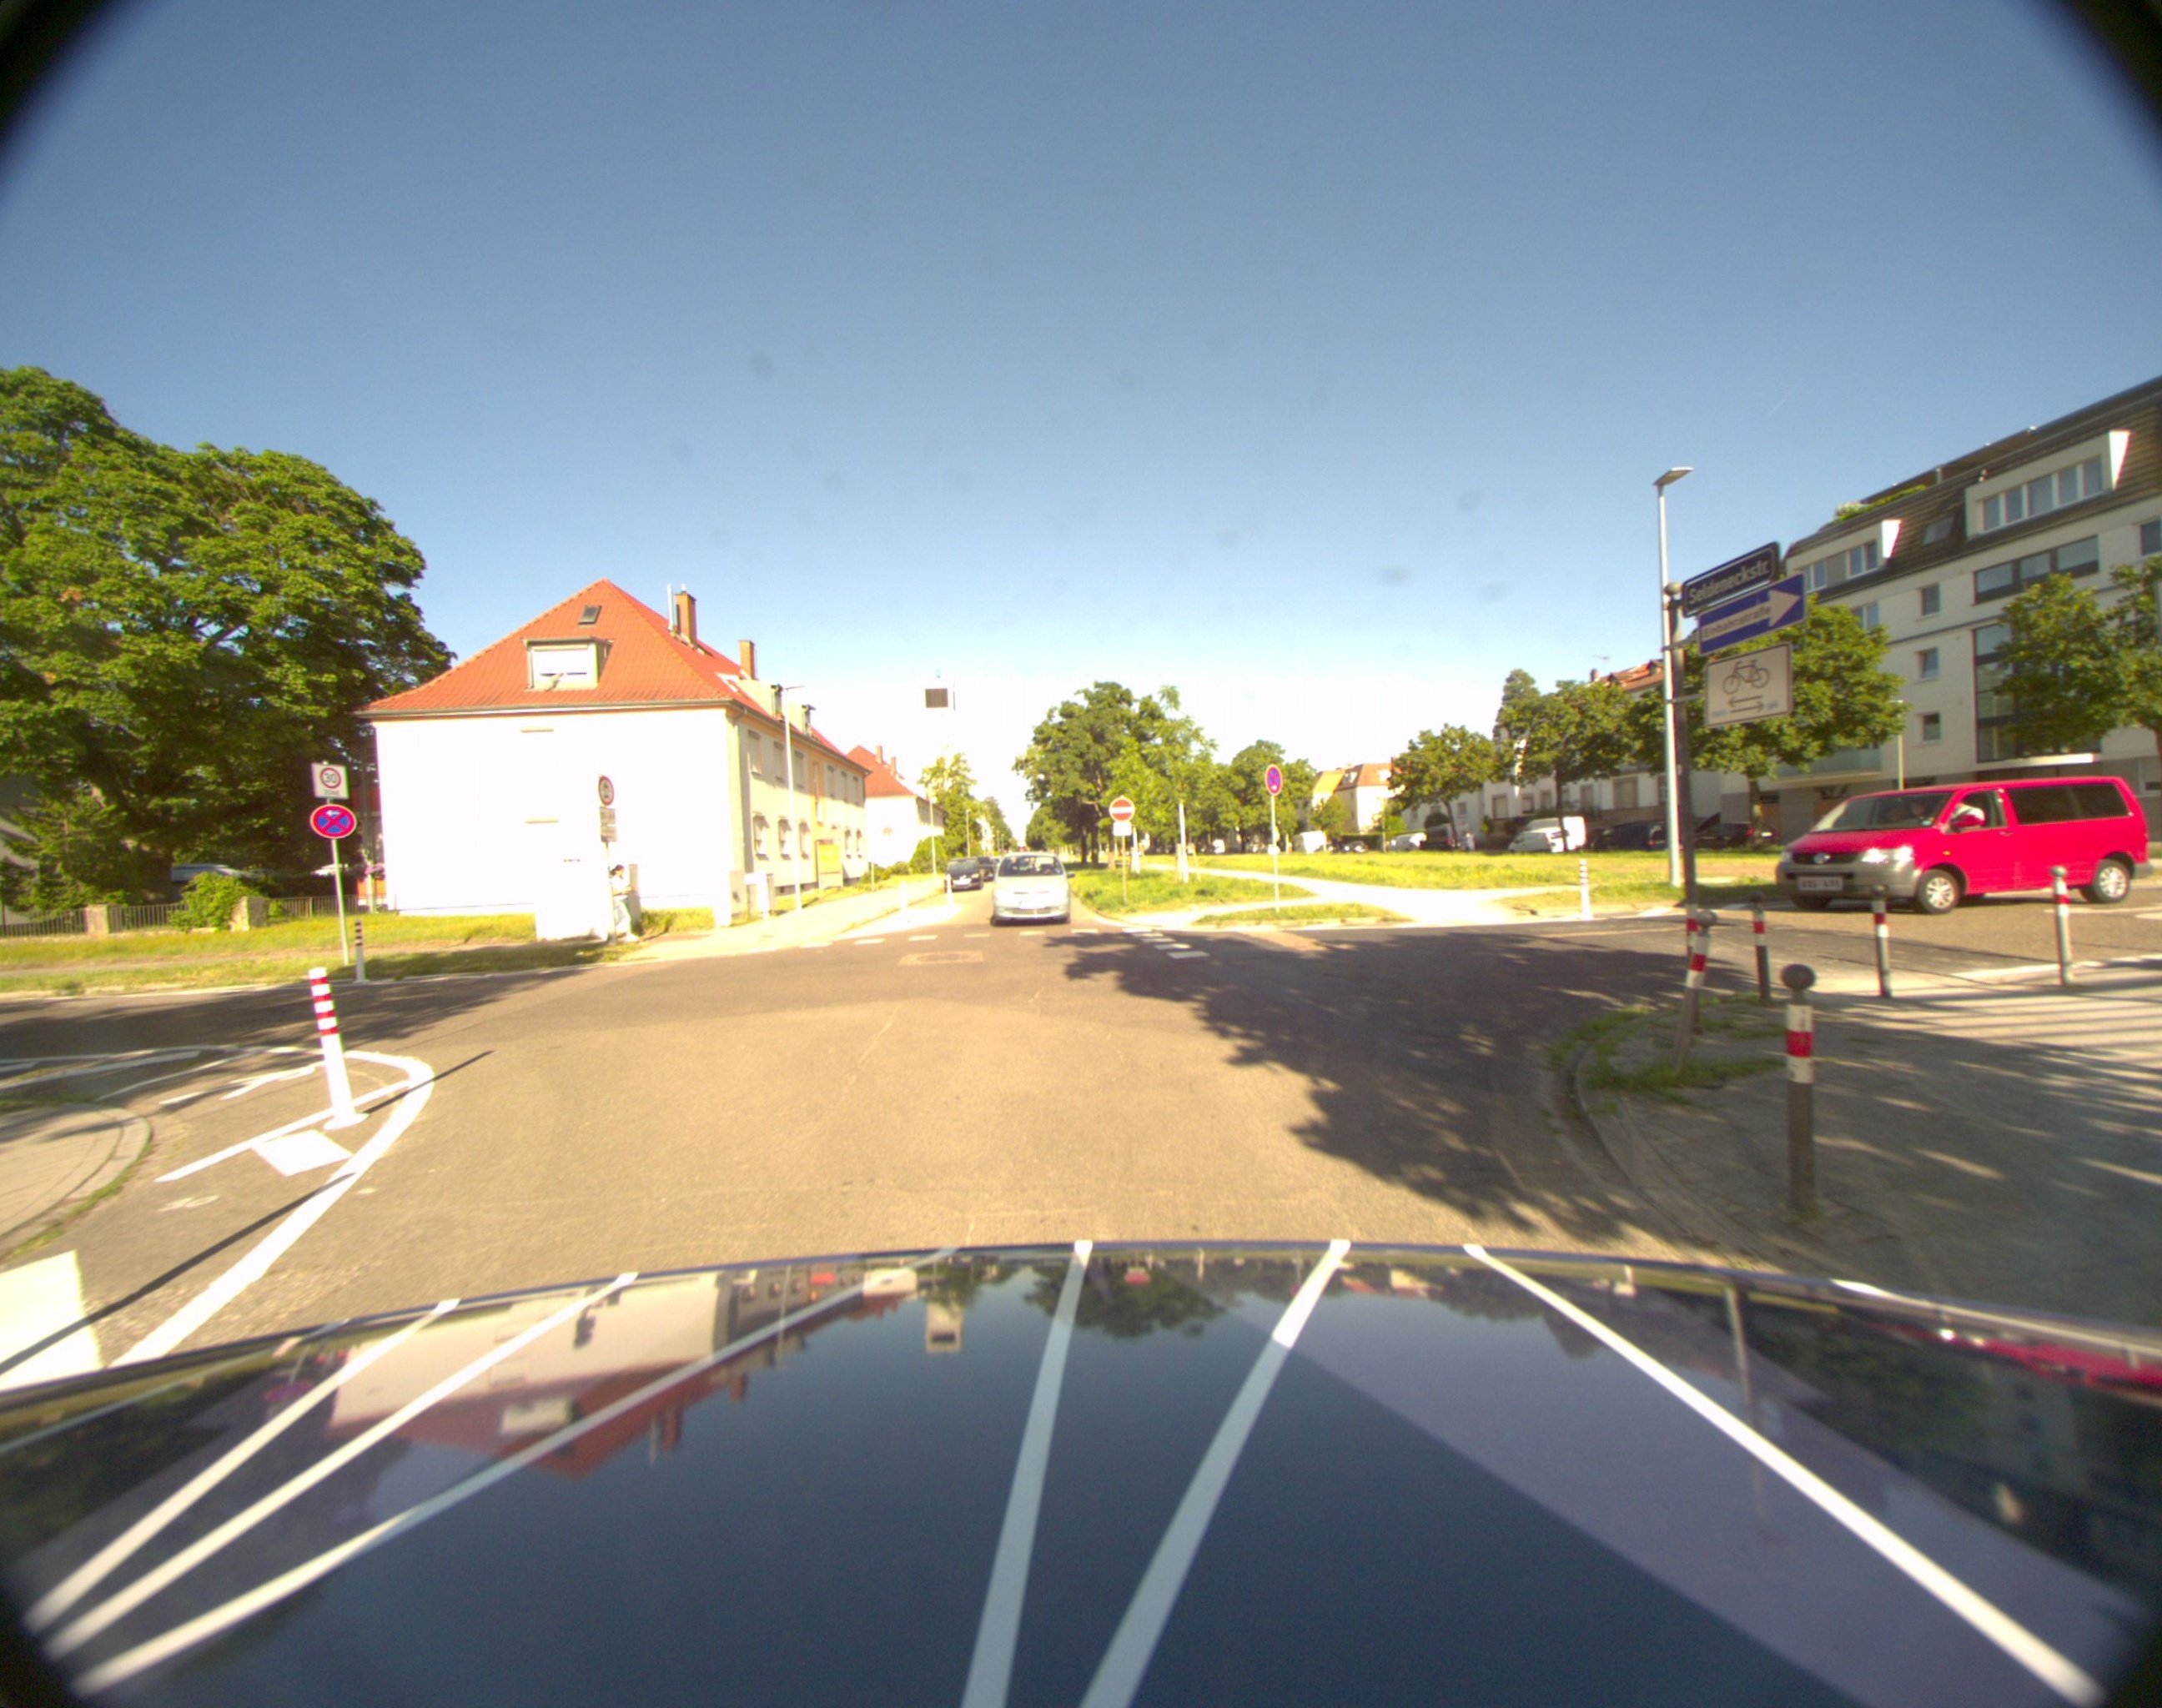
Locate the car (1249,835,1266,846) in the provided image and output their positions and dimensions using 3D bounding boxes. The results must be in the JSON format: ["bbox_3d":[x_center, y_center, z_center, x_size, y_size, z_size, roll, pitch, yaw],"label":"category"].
[{"bbox_3d":[30.988,-2.373,133.668,1.865,1.834,3.993,-3,1,-2],"label":"car"}]

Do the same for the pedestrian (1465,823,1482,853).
[{"bbox_3d":[25.067,-1.024,48.531,0.724,1.866,0.629,-3,1,-4],"label":"pedestrian"}]

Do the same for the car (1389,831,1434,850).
[{"bbox_3d":[29.837,-1.193,68.766,2.084,1.589,4.287,-3,1,-2],"label":"car"}]

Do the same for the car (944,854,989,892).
[{"bbox_3d":[-5.592,0.868,37.371,1.721,1.654,4.062,-3,1,-3],"label":"car"}]

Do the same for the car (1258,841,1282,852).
[{"bbox_3d":[27.230,-1.046,109.532,2.080,1.457,4.726,-3,1,-2],"label":"car"}]

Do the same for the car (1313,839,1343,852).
[{"bbox_3d":[28.413,-0.966,87.507,1.934,1.337,4.108,-3,1,-2],"label":"car"}]

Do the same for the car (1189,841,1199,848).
[{"bbox_3d":[28.720,-2.388,193.045,1.865,1.834,3.993,-3,1,-2],"label":"car"}]

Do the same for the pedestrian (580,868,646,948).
[{"bbox_3d":[-9.925,1.121,16.153,0.833,1.602,0.768,-3,1,1],"label":"pedestrian"}]

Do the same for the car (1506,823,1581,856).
[{"bbox_3d":[30.507,-0.941,50.277,1.875,1.873,4.422,-7,1,-3],"label":"car"}]

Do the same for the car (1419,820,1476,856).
[{"bbox_3d":[29.737,-1.253,61.874,2.192,2.569,4.287,-7,1,-2],"label":"car"}]

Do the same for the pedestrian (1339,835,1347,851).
[{"bbox_3d":[24.487,-1.020,70.919,0.496,1.496,0.535,-3,1,-3],"label":"pedestrian"}]

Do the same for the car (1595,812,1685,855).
[{"bbox_3d":[30.823,-1.078,42.043,1.783,2.072,3.993,-7,1,-2],"label":"car"}]

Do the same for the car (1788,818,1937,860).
[{"bbox_3d":[31.677,-0.578,30.976,1.739,1.425,3.993,-7,1,-3],"label":"car"}]

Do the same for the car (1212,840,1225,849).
[{"bbox_3d":[29.876,-1.956,165.027,1.865,1.834,3.993,-3,1,-2],"label":"car"}]

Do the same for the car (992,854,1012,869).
[{"bbox_3d":[-8.164,0.760,78.693,1.721,1.334,3.807,-3,1,-3],"label":"car"}]

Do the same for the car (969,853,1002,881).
[{"bbox_3d":[-6.033,0.798,48.203,1.721,1.574,4.139,-3,1,-3],"label":"car"}]

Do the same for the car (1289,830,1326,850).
[{"bbox_3d":[27.998,-1.712,94.061,2.550,2.320,5.918,-3,1,-2],"label":"car"}]

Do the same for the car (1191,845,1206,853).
[{"bbox_3d":[23.920,-0.986,154.853,2.080,1.457,4.726,-3,1,-2],"label":"car"}]

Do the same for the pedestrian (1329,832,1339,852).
[{"bbox_3d":[23.673,-1.105,71.202,0.644,1.866,0.629,-3,1,-5],"label":"pedestrian"}]

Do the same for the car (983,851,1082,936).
[{"bbox_3d":[-1.069,0.771,17.321,1.888,1.599,4.245,-3,1,-3],"label":"car"}]

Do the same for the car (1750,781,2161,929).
[{"bbox_3d":[13.796,-0.020,12.110,4.885,1.949,1.895,-3,1,-7],"label":"car"}]

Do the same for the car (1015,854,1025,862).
[{"bbox_3d":[-11.283,0.686,140.065,1.721,1.334,3.807,-3,1,-3],"label":"car"}]

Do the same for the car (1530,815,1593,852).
[{"bbox_3d":[36.203,-1.518,57.416,2.022,2.534,3.993,-4,1,-2],"label":"car"}]

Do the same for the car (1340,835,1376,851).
[{"bbox_3d":[29.121,-1.149,79.948,2.084,1.589,4.287,-3,1,-2],"label":"car"}]

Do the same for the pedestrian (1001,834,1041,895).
[{"bbox_3d":[-1.750,0.308,22.171,1.054,1.699,0.692,-3,1,-8],"label":"pedestrian"}]

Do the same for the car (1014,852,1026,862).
[{"bbox_3d":[-9.459,0.446,117.407,1.721,1.334,3.807,-3,1,-3],"label":"car"}]

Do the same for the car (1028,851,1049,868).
[{"bbox_3d":[-3.768,0.460,67.506,1.721,1.334,3.807,-3,1,-3],"label":"car"}]

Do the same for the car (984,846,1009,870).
[{"bbox_3d":[-7.492,0.362,67.928,1.871,2.002,4.254,-3,1,-3],"label":"car"}]

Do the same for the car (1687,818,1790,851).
[{"bbox_3d":[36.972,-1.063,42.885,1.895,1.673,4.287,-4,1,-2],"label":"car"}]
